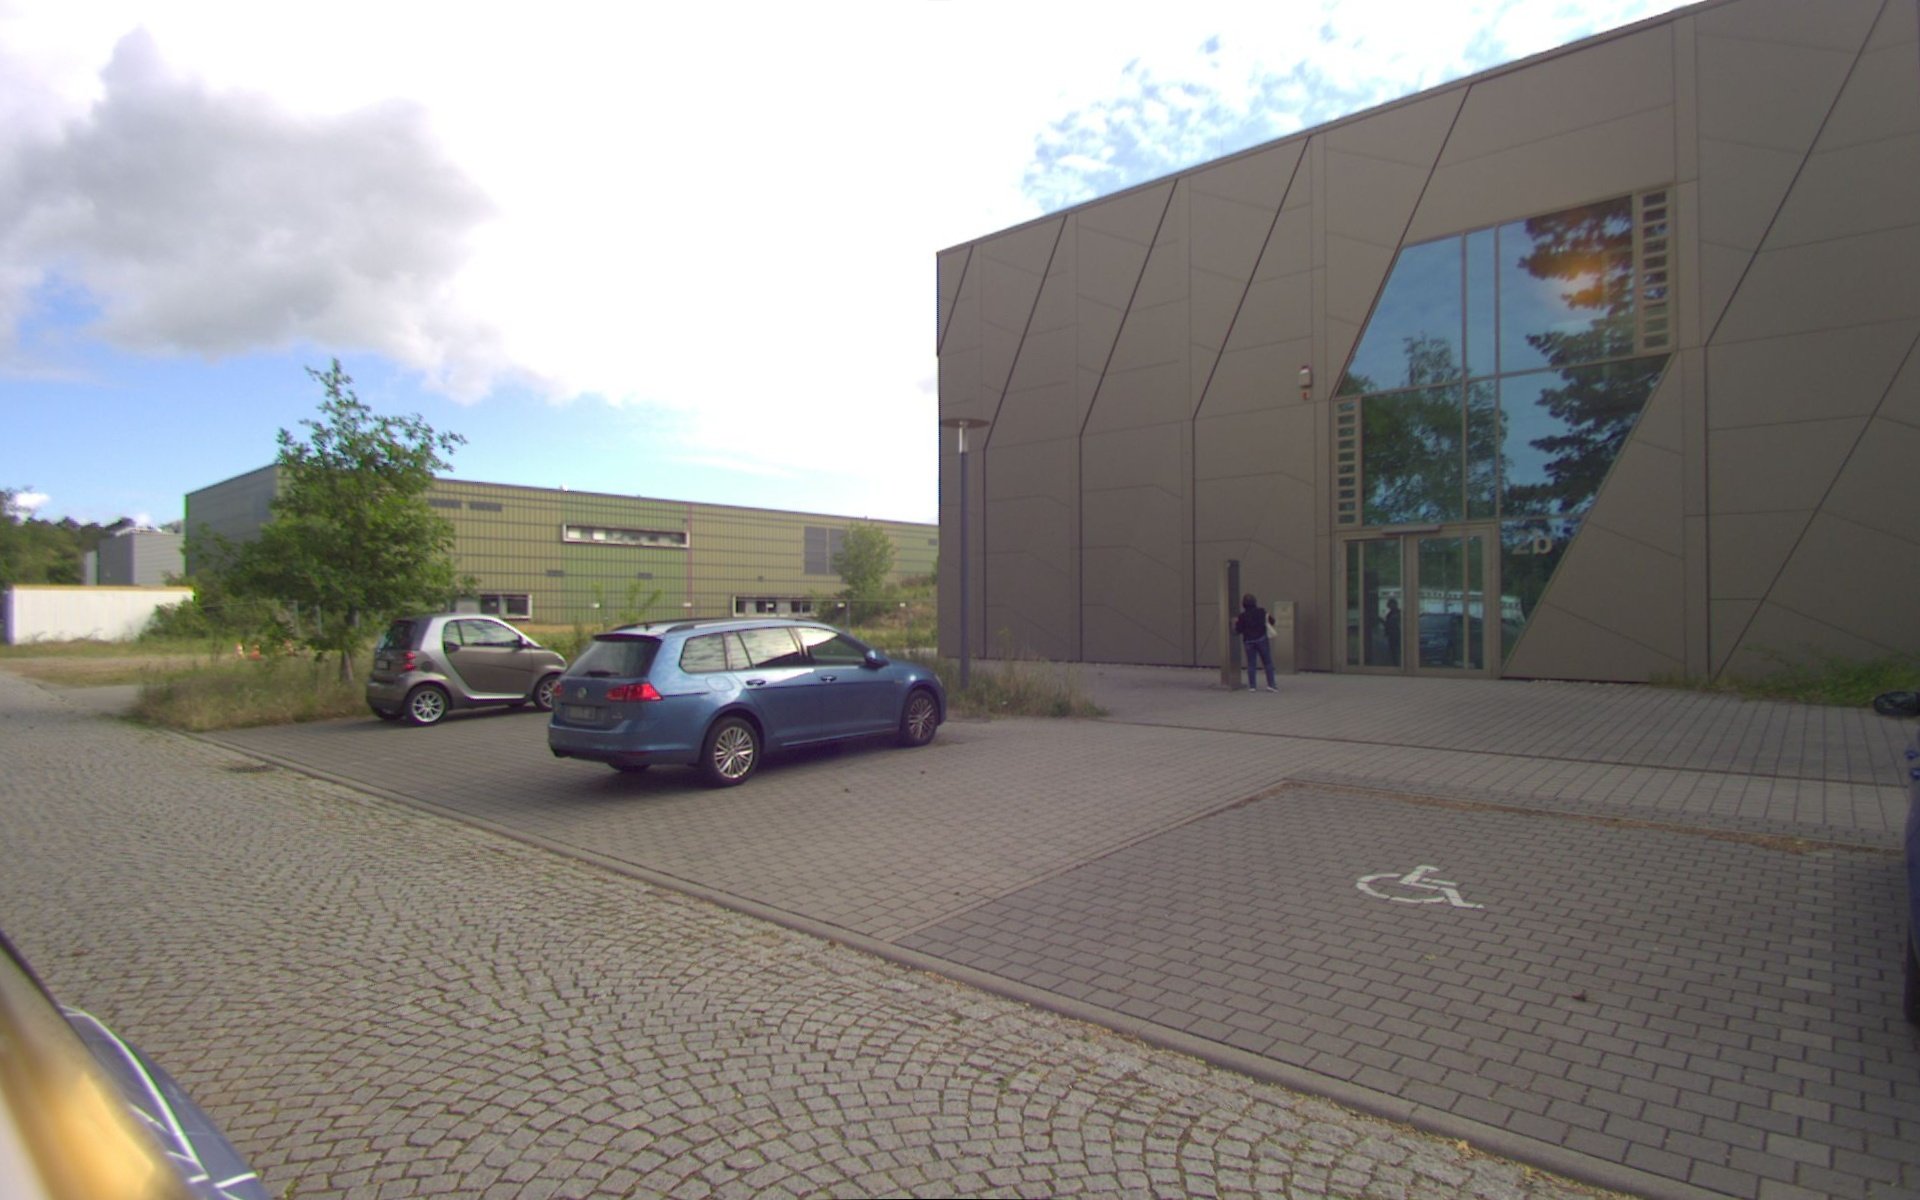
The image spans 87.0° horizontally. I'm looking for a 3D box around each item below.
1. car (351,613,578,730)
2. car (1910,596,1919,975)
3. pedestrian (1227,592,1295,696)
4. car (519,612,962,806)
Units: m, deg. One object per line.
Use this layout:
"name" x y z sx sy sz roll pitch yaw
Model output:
"car" -7.403 0.997 15.229 1.609 1.522 2.627 -1 0 40
"car" 5.045 0.737 3.980 1.852 1.489 3.724 -1 0 44
"pedestrian" 4.639 0.647 15.563 0.814 1.506 0.977 -1 1 27
"car" -1.986 0.903 10.304 1.771 1.439 4.265 -1 0 38
